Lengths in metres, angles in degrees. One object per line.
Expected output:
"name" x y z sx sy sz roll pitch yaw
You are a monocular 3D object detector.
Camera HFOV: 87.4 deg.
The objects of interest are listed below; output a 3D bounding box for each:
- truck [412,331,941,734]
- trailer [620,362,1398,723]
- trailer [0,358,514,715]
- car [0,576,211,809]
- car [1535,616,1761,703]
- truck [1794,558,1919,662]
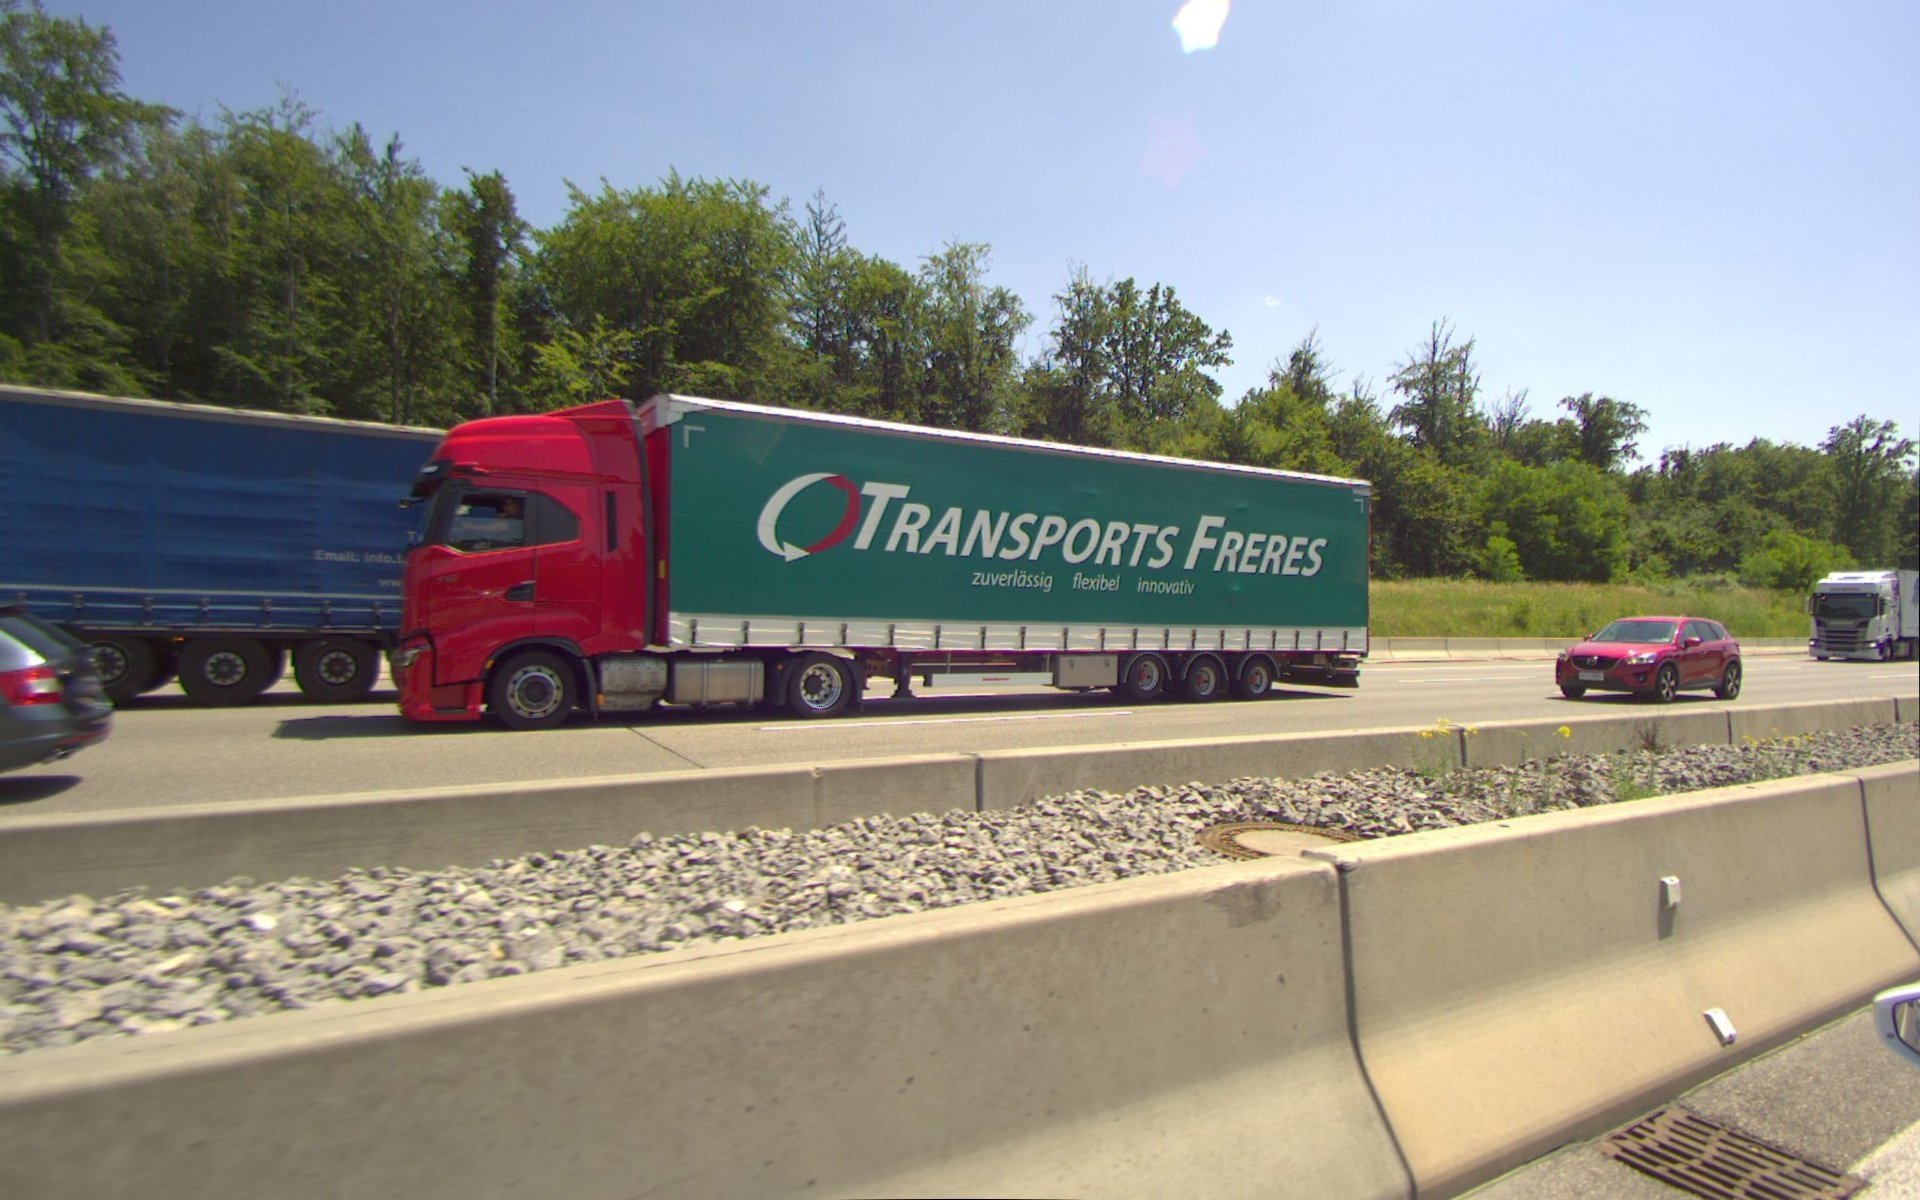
"truck" -3.723 -0.704 13.717 6.528 4.409 2.489 1 0 -30
"trailer" 1.815 -0.622 17.000 14.136 4.409 2.488 1 0 -31
"trailer" -13.288 -0.805 13.023 13.538 4.409 2.488 1 0 -31
"car" -8.291 0.586 6.866 4.823 1.568 1.984 1 0 -30
"car" 13.968 1.148 20.324 4.826 1.568 1.983 2 -1 -31
"truck" 44.971 0.604 48.192 16.377 4.409 2.883 1 0 -33
